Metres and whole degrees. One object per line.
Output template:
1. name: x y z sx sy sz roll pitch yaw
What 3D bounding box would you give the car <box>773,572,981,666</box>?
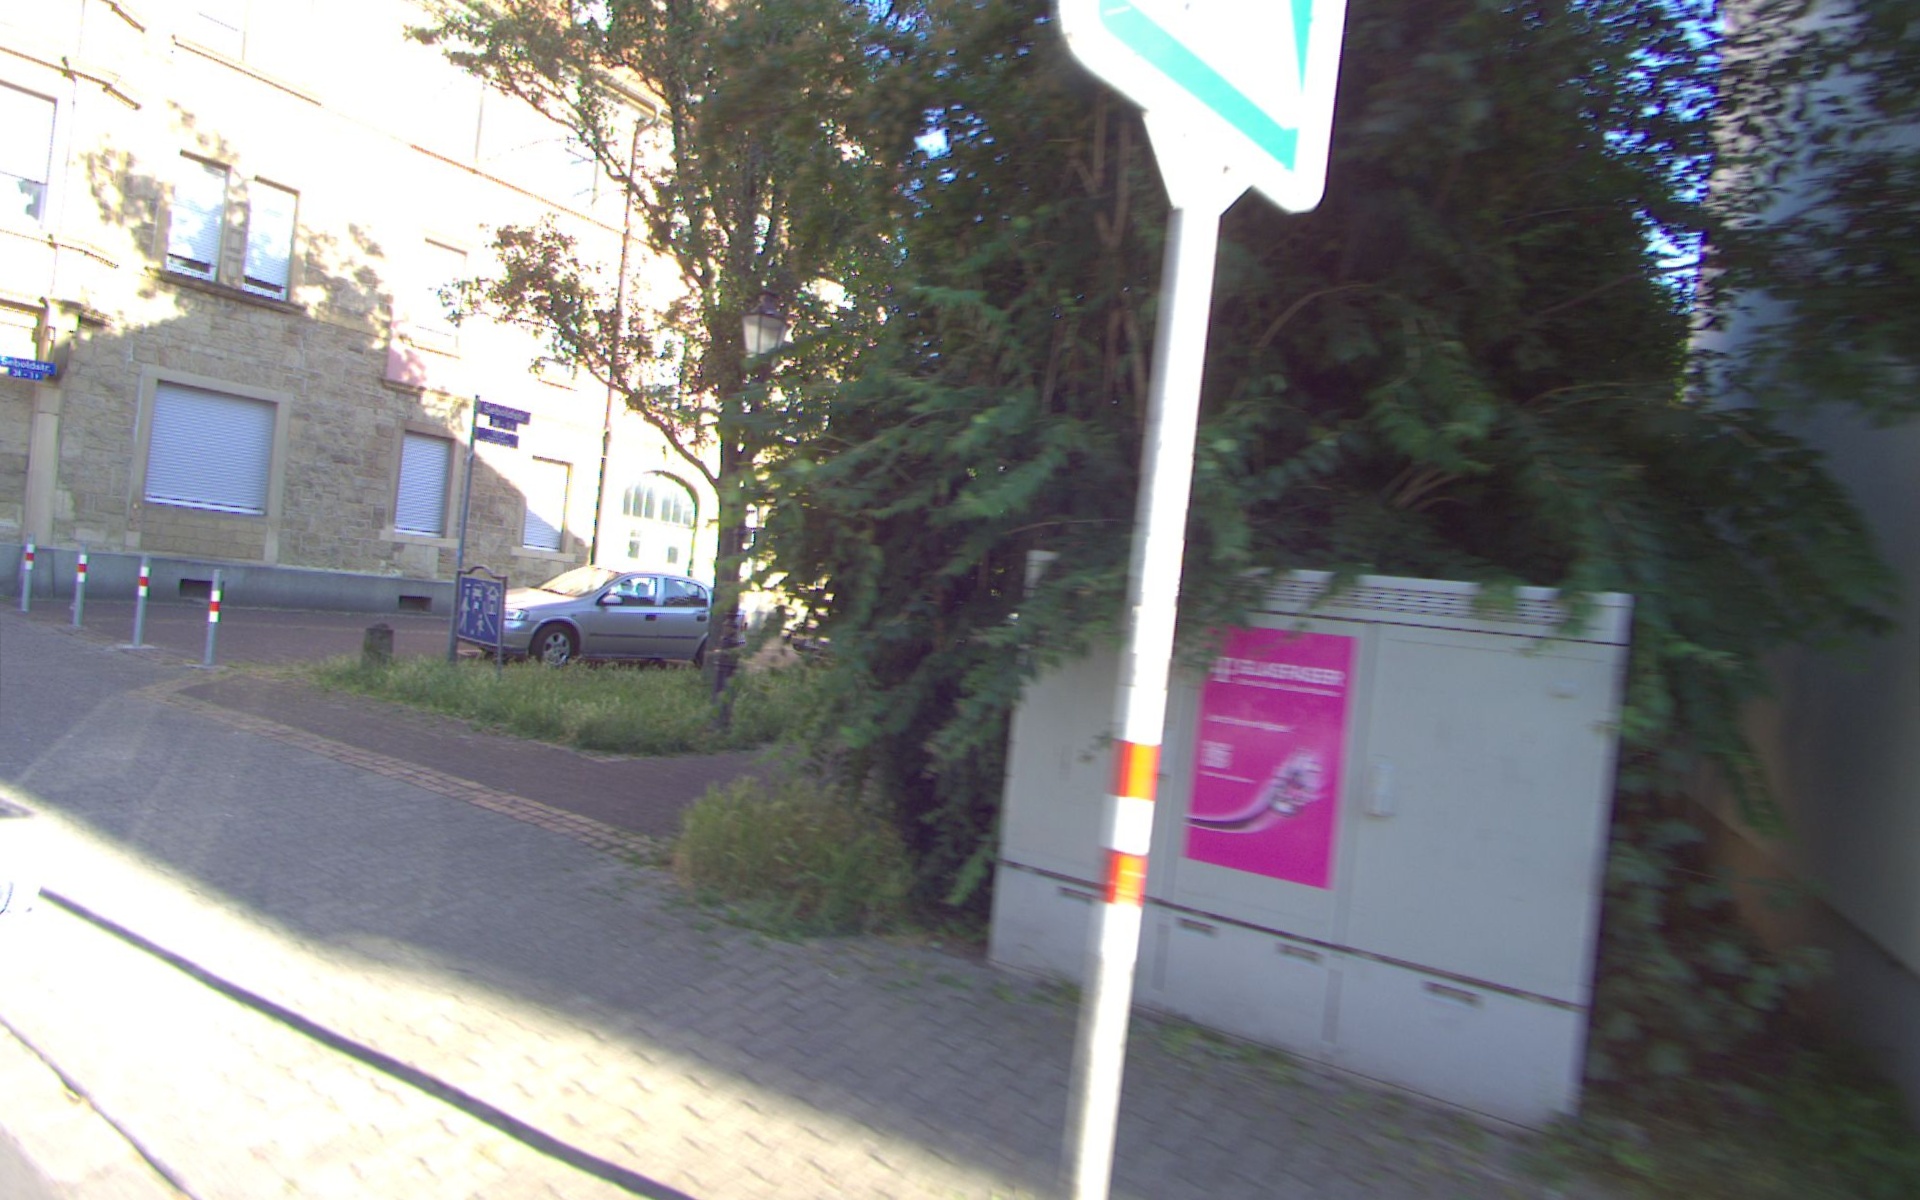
1. car: -1.448 0.408 19.007 1.687 1.576 4.018 2 -2 35

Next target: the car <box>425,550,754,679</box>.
1. car: -5.136 0.217 14.363 1.873 1.439 3.948 8 3 38

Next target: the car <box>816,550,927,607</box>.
1. car: -3.564 -0.872 40.476 3.949 1.785 1.905 5 -3 31

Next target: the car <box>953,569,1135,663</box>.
1. car: 2.540 0.476 30.145 4.877 2.050 2.003 7 -2 19
